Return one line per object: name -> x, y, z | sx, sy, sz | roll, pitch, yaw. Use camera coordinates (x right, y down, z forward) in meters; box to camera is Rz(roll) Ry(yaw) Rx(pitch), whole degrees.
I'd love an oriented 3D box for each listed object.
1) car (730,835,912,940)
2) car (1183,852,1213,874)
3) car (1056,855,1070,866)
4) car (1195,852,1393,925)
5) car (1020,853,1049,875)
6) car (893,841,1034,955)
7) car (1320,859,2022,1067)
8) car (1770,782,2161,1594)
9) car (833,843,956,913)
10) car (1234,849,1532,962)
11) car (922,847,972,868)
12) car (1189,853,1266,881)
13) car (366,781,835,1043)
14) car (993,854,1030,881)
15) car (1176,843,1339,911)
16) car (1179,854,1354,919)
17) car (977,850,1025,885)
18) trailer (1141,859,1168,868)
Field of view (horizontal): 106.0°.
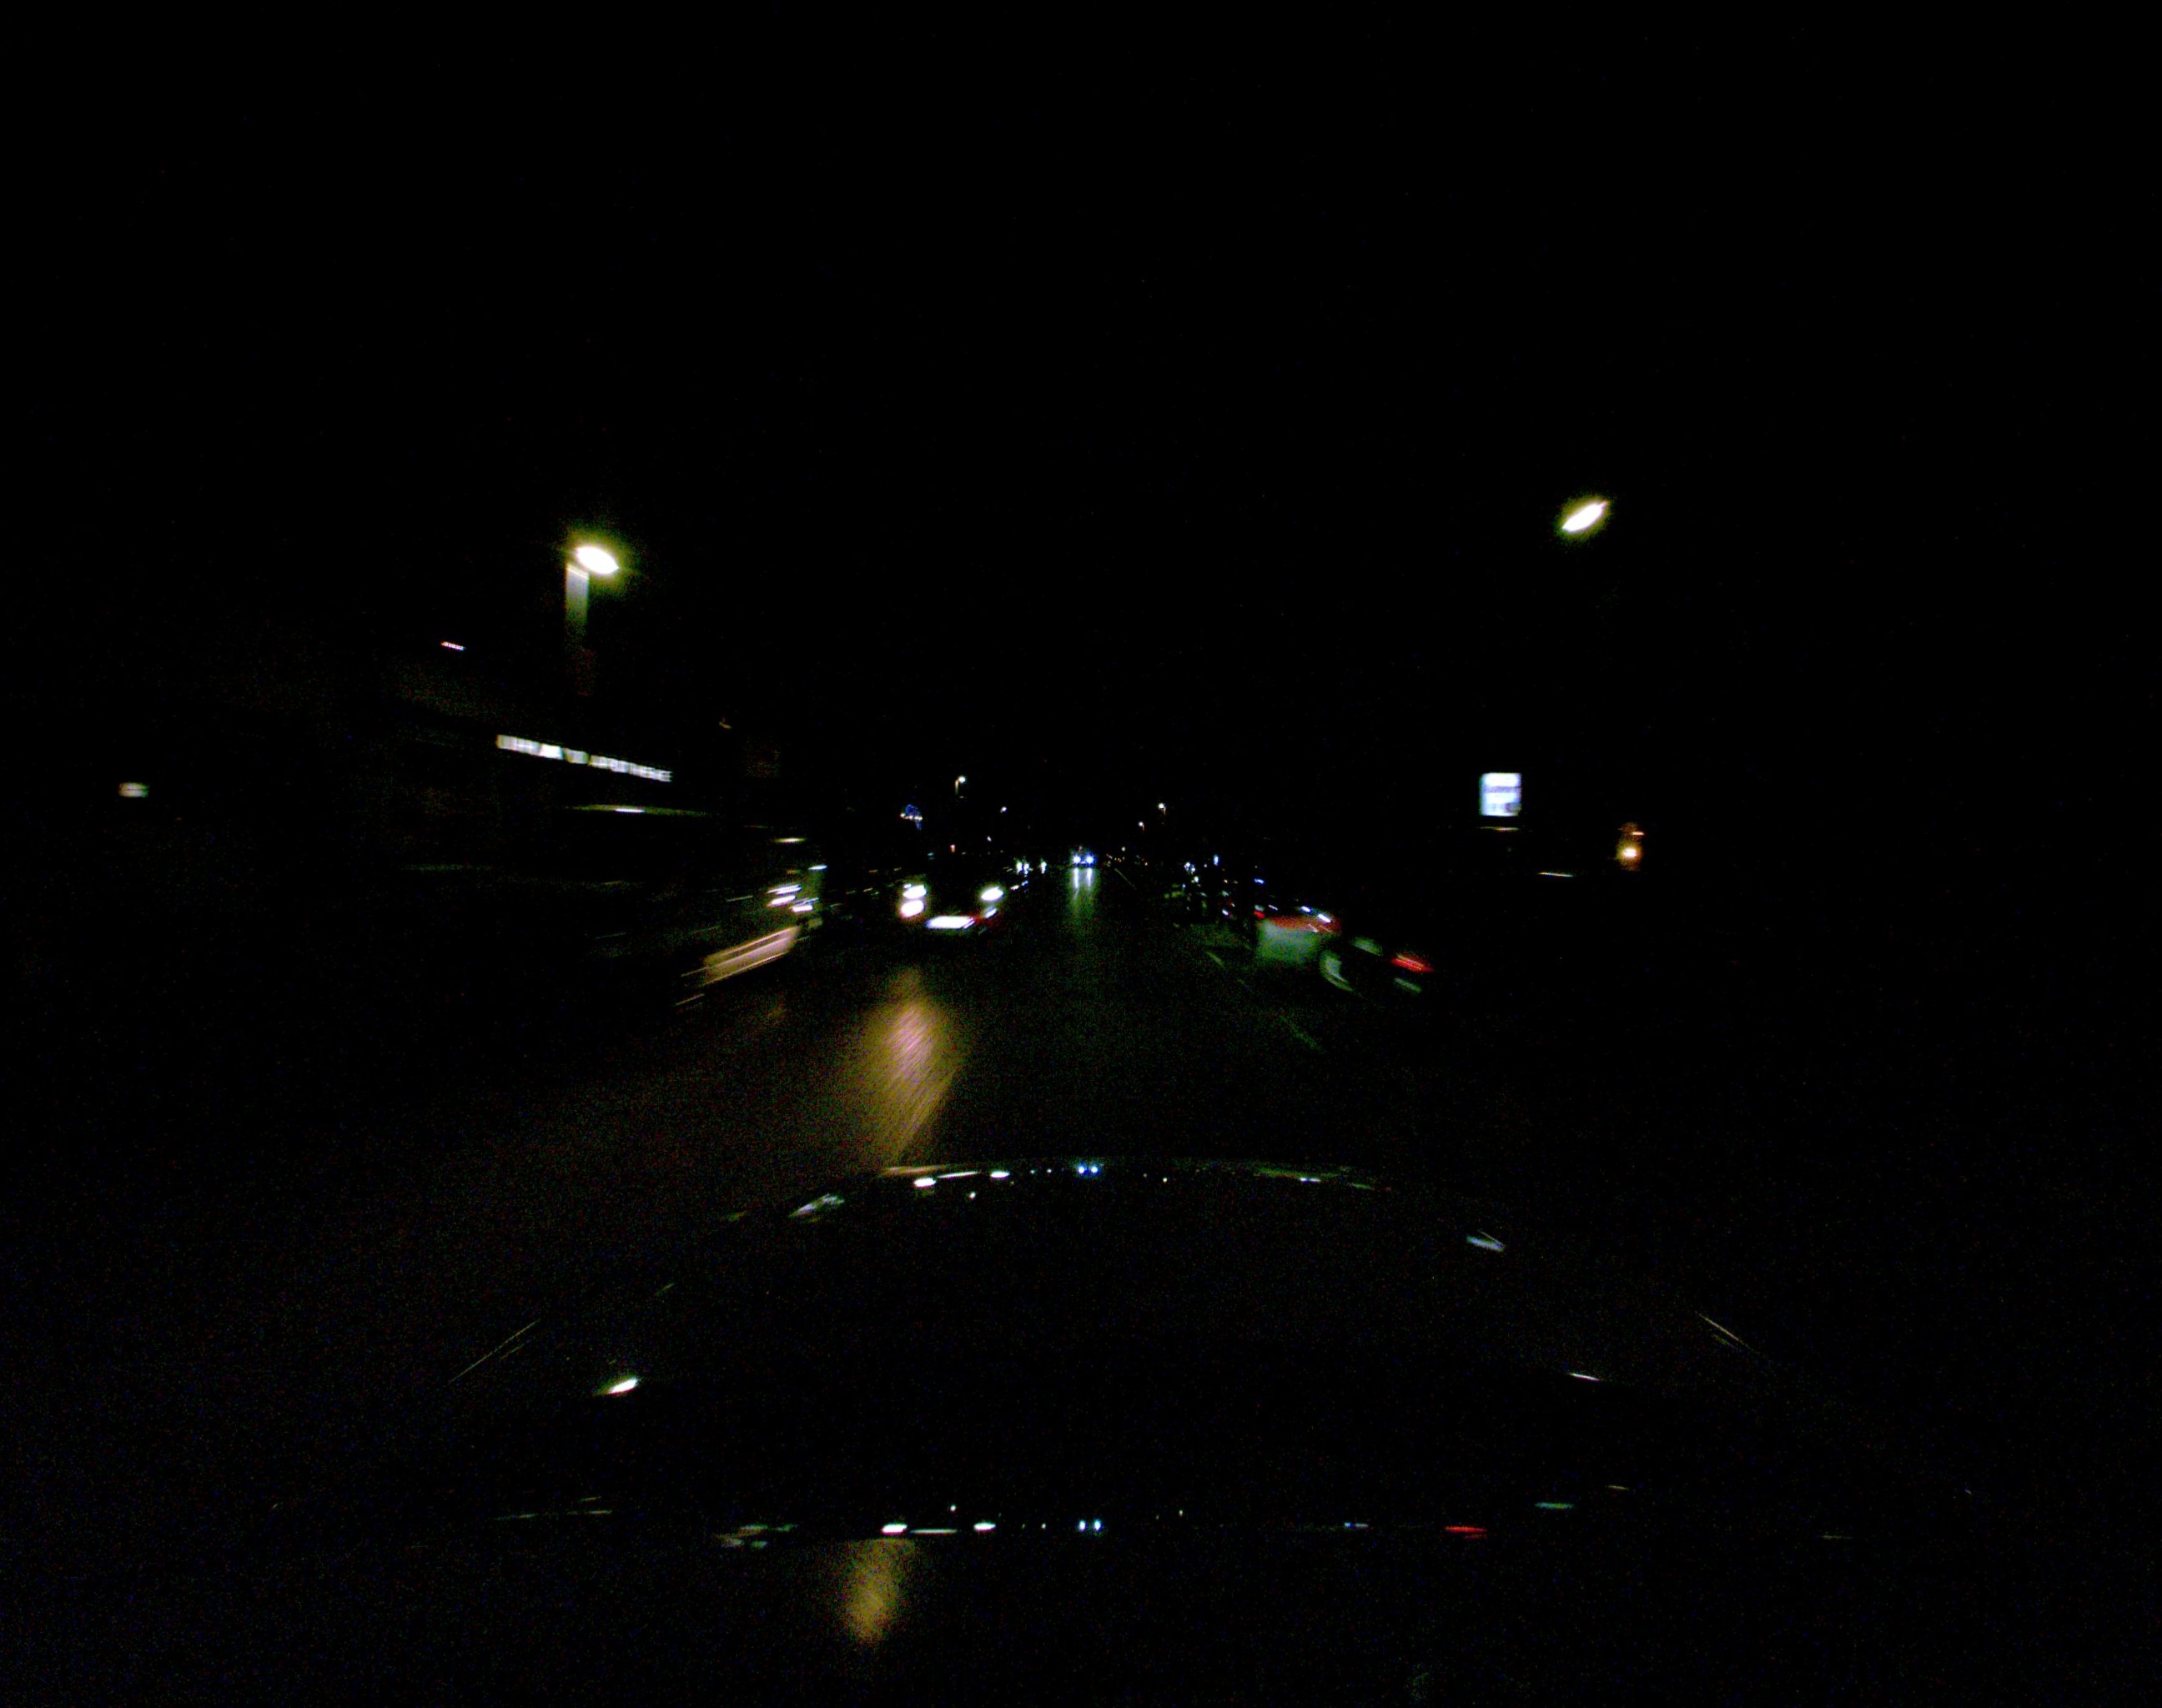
car -> -4.746, 0.555, 15.596 | 2.109, 1.670, 4.168 | 2, 0, -1
car -> 8.418, 0.643, 58.790 | 1.634, 1.560, 3.678 | 0, 0, 0
car -> -2.568, 0.959, 117.431 | 1.665, 1.591, 3.990 | 2, 0, 3
car -> 4.578, 0.733, 17.939 | 3.903, 1.514, 1.854 | 0, -1, 0
car -> -3.276, 0.687, 57.757 | 1.743, 1.468, 4.009 | 2, 0, 0
car -> -1.879, 0.656, 14.202 | 1.712, 1.715, 3.964 | 0, 0, 3
car -> 4.417, 0.763, 6.720 | 4.381, 1.420, 1.936 | 0, 0, 2
car -> 4.388, 0.678, 1.349 | 4.634, 1.557, 2.109 | 1, 0, 4
car -> -4.670, 0.550, 21.130 | 2.109, 1.548, 4.476 | 2, 0, -1
car -> 4.381, 0.711, 12.382 | 3.897, 1.551, 1.990 | 0, 0, 5
car -> -11.328, 0.312, 69.095 | 3.982, 1.703, 1.944 | -1, 0, -6
car -> 7.992, 0.690, 44.599 | 3.890, 1.486, 1.833 | -1, 0, 1
car -> -4.511, 0.452, 8.857 | 2.109, 1.946, 4.887 | 3, 0, 0
car -> -4.004, 0.759, 47.493 | 1.765, 1.468, 3.966 | 2, 0, 0
car -> 4.874, 0.619, 23.010 | 4.332, 1.816, 2.035 | 0, 0, 6
car -> 4.520, 0.772, 20.253 | 3.906, 1.514, 1.853 | 0, 0, -2
car -> -4.054, 0.657, 41.927 | 1.922, 1.636, 4.470 | 2, 0, 0
trailer -> 9.891, 1.276, 109.528 | 3.420, 1.002, 1.954 | 4, 0, 1
